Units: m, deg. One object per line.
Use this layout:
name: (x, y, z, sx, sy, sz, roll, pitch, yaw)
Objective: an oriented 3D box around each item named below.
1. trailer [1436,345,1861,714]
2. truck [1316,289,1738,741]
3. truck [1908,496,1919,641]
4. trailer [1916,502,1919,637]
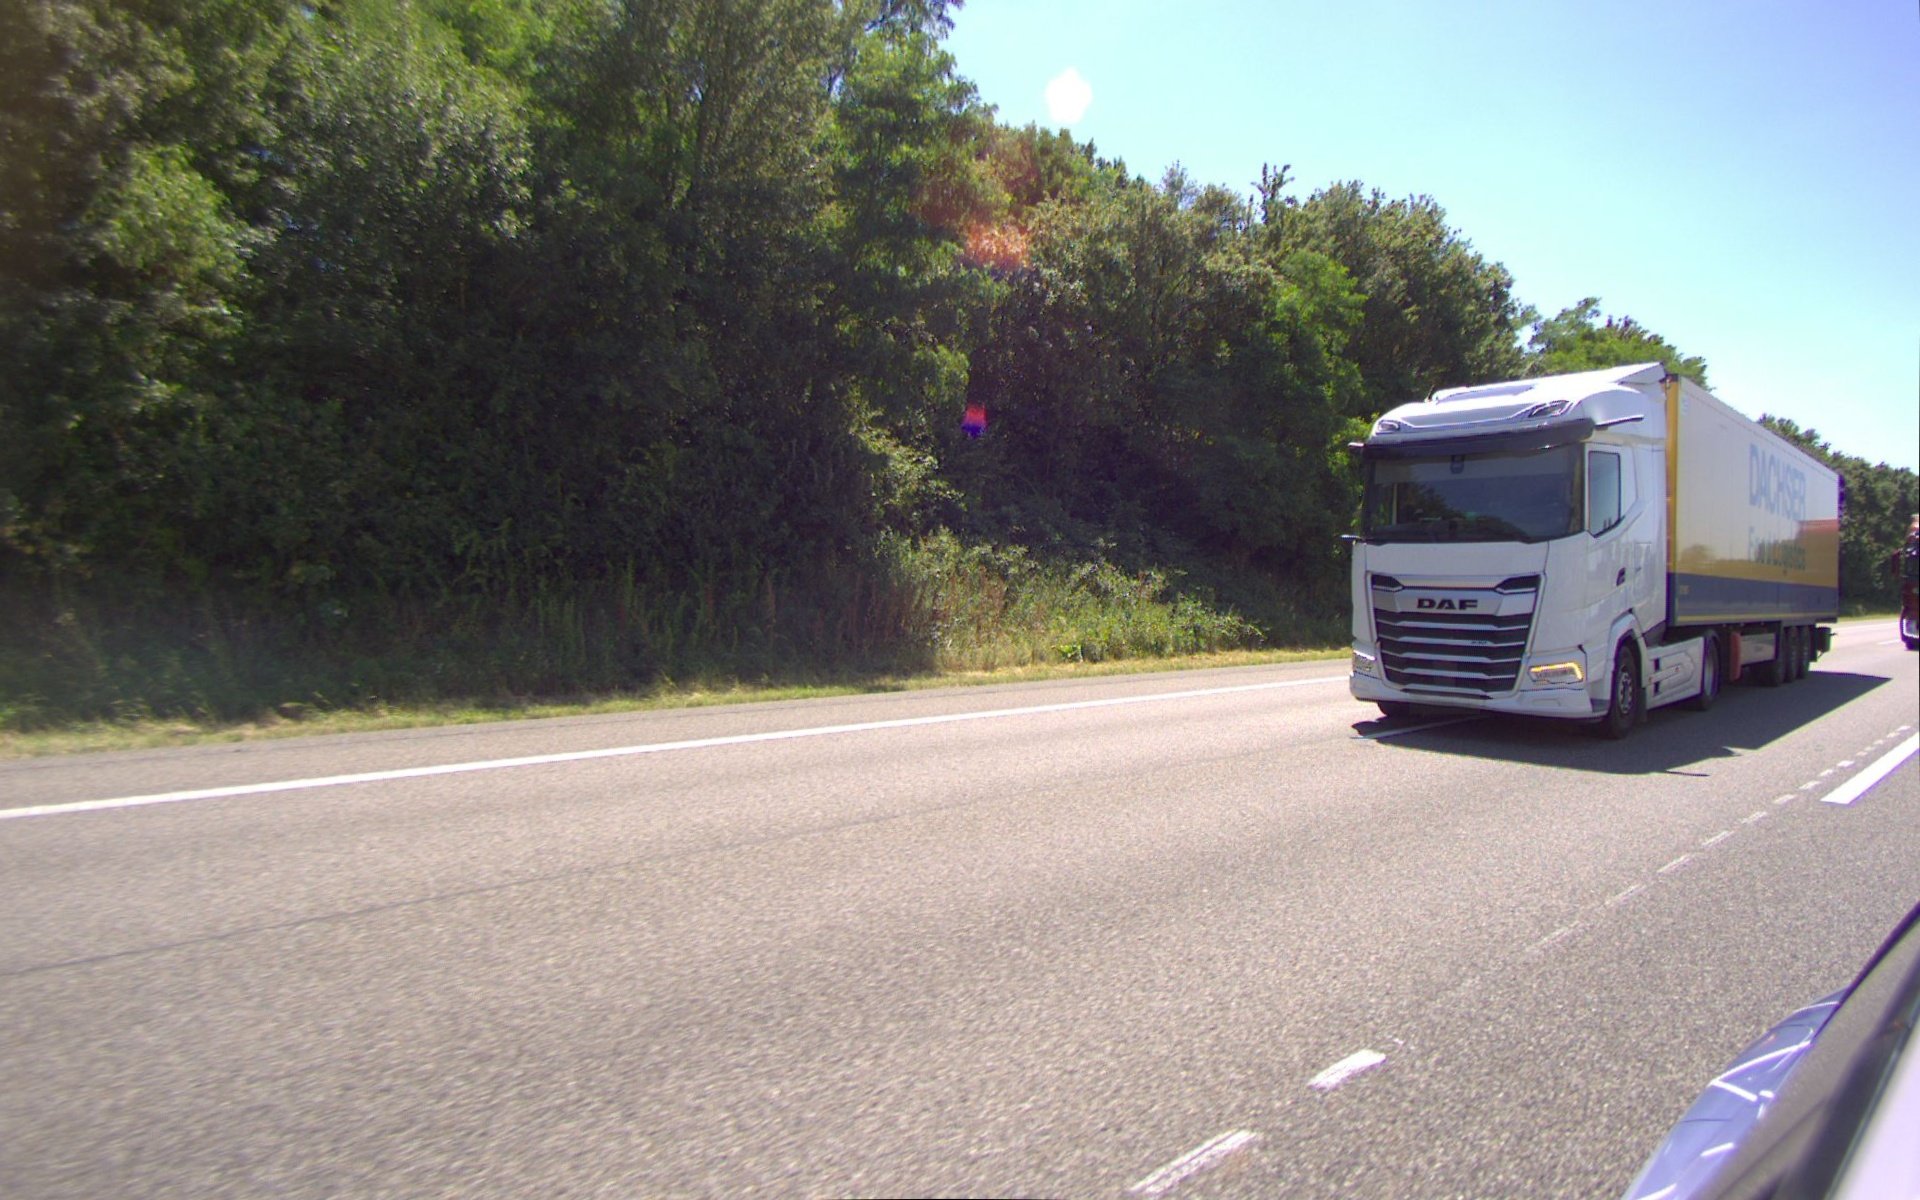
trailer: (12.211, -0.834, 16.859, 13.597, 4.121, 2.681, 0, 0, -42)
truck: (7.053, -0.800, 12.221, 5.944, 4.121, 2.681, 0, 0, -42)
truck: (30.177, -0.909, 29.836, 5.673, 4.121, 2.866, 0, 0, -43)
trailer: (35.103, -0.946, 34.404, 13.601, 4.121, 2.881, 0, 0, -43)
